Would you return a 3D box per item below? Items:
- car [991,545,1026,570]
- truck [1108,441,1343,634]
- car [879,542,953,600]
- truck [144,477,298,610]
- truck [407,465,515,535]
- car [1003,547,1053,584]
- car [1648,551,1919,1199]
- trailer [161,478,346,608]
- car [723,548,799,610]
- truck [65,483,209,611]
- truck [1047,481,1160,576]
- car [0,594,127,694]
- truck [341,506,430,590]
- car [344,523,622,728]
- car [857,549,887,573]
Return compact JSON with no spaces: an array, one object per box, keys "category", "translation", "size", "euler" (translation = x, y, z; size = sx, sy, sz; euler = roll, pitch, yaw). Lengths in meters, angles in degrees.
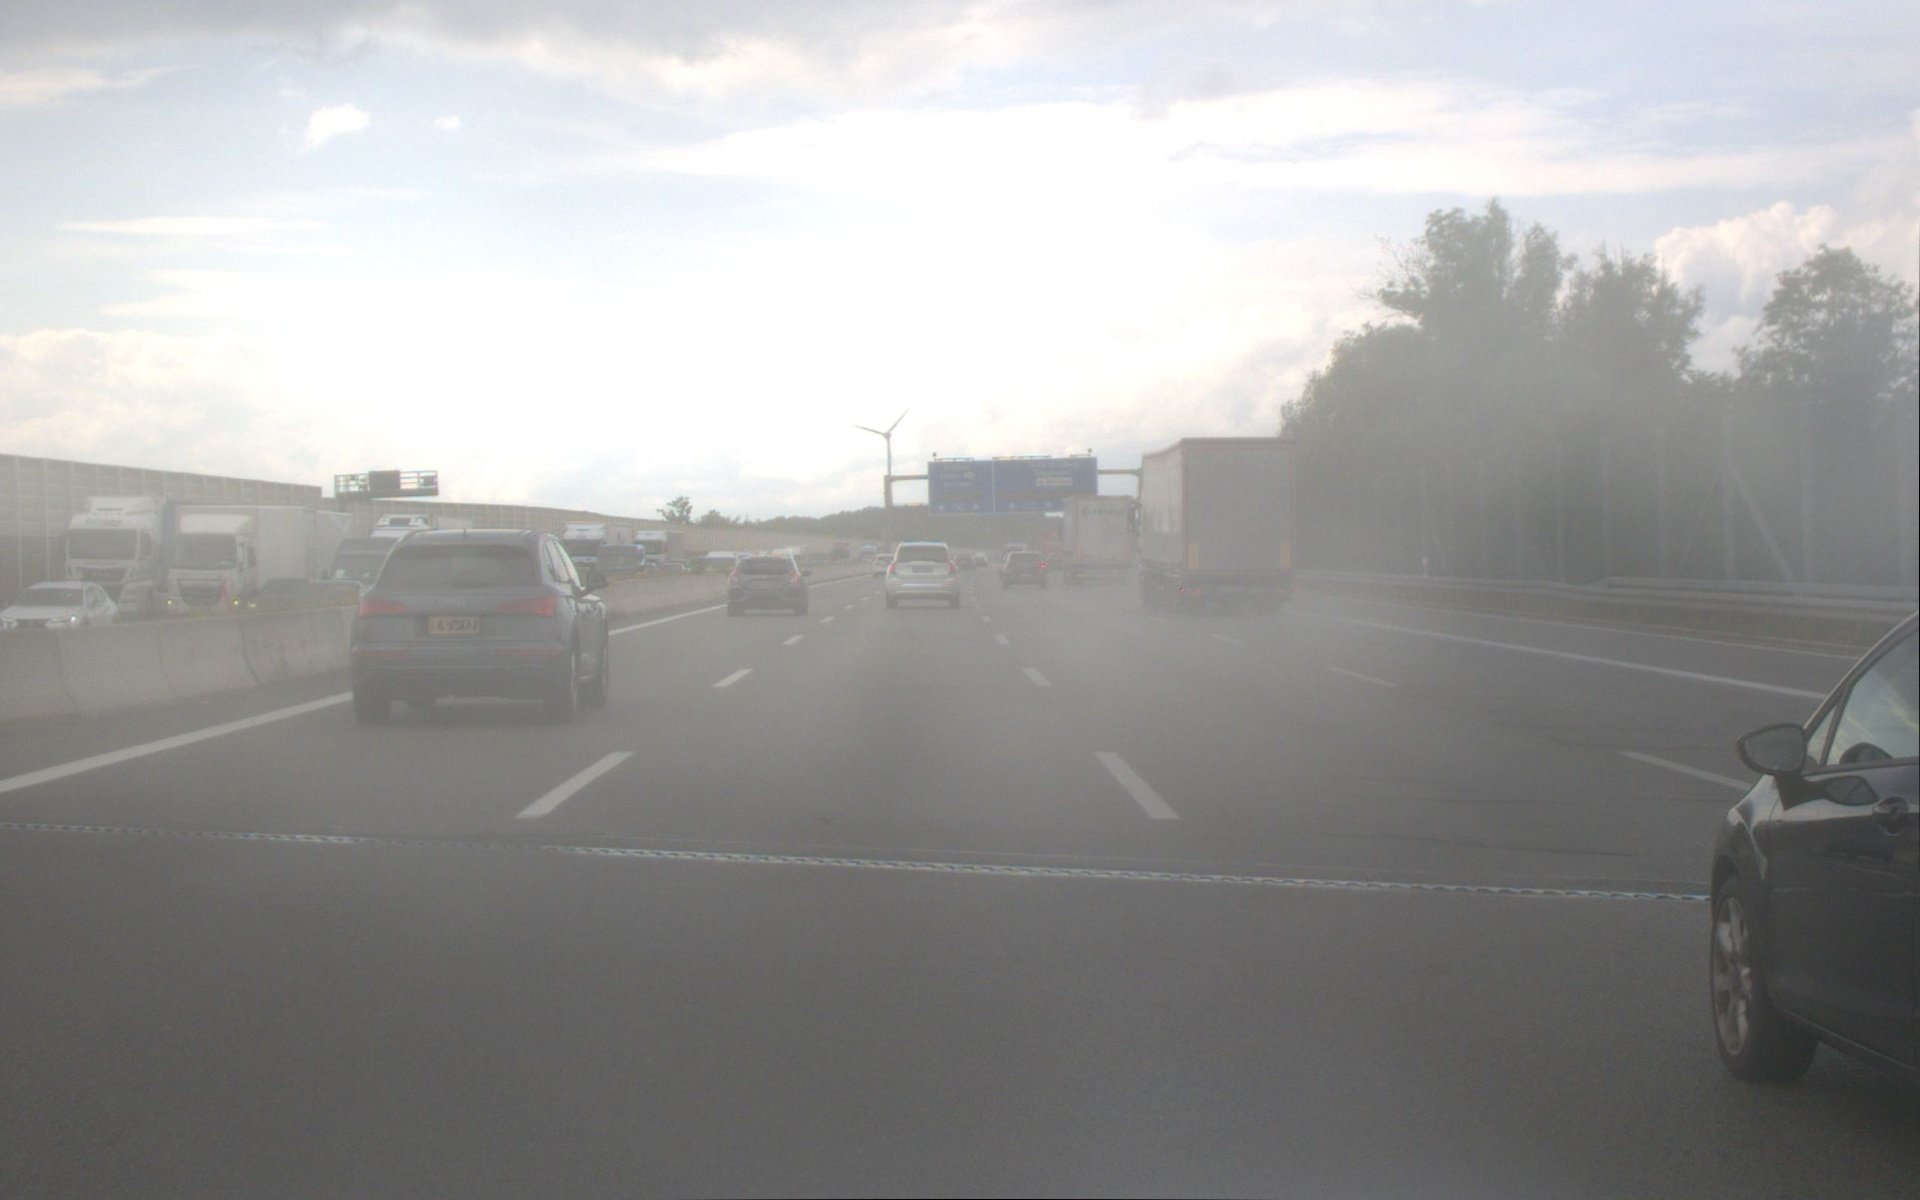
[{"category":"car","translation":[2.815,-2.502,201.310],"size":[1.835,1.436,4.056],"euler":[0,2,-2]},{"category":"truck","translation":[6.196,-1.548,82.999],"size":[4.179,4.273,12.614],"euler":[1,1,-2]},{"category":"car","translation":[-1.199,-0.786,91.405],"size":[1.772,1.436,4.056],"euler":[0,2,-4]},{"category":"truck","translation":[-22.762,-1.770,106.350],"size":[3.079,3.921,8.054],"euler":[0,1,-1]},{"category":"truck","translation":[-25.061,-4.988,173.539],"size":[3.266,3.340,16.086],"euler":[0,1,-1]},{"category":"car","translation":[2.794,-1.426,142.230],"size":[1.835,1.436,4.056],"euler":[0,2,-2]},{"category":"car","translation":[2.825,0.609,8.712],"size":[1.447,1.436,3.164],"euler":[0,1,-2]},{"category":"trailer","translation":[-22.822,-1.904,112.000],"size":[3.079,3.921,14.983],"euler":[0,1,-1]},{"category":"car","translation":[-4.756,-0.523,81.989],"size":[1.760,1.364,5.061],"euler":[0,2,-4]},{"category":"truck","translation":[-27.207,-1.781,114.044],"size":[2.710,4.060,8.915],"euler":[0,1,-1]},{"category":"truck","translation":[6.511,-3.323,158.239],"size":[4.243,4.162,11.991],"euler":[0,1,-2]},{"category":"car","translation":[-18.836,0.897,71.633],"size":[1.923,1.899,4.253],"euler":[-1,1,-1]},{"category":"truck","translation":[-23.619,-2.170,141.682],"size":[2.321,3.336,8.354],"euler":[0,1,-1]},{"category":"car","translation":[-4.252,0.156,31.421],"size":[1.908,1.685,5.169],"euler":[-1,1,-1]},{"category":"car","translation":[-5.460,-2.421,212.973],"size":[1.772,1.436,3.874],"euler":[0,2,-3]}]
